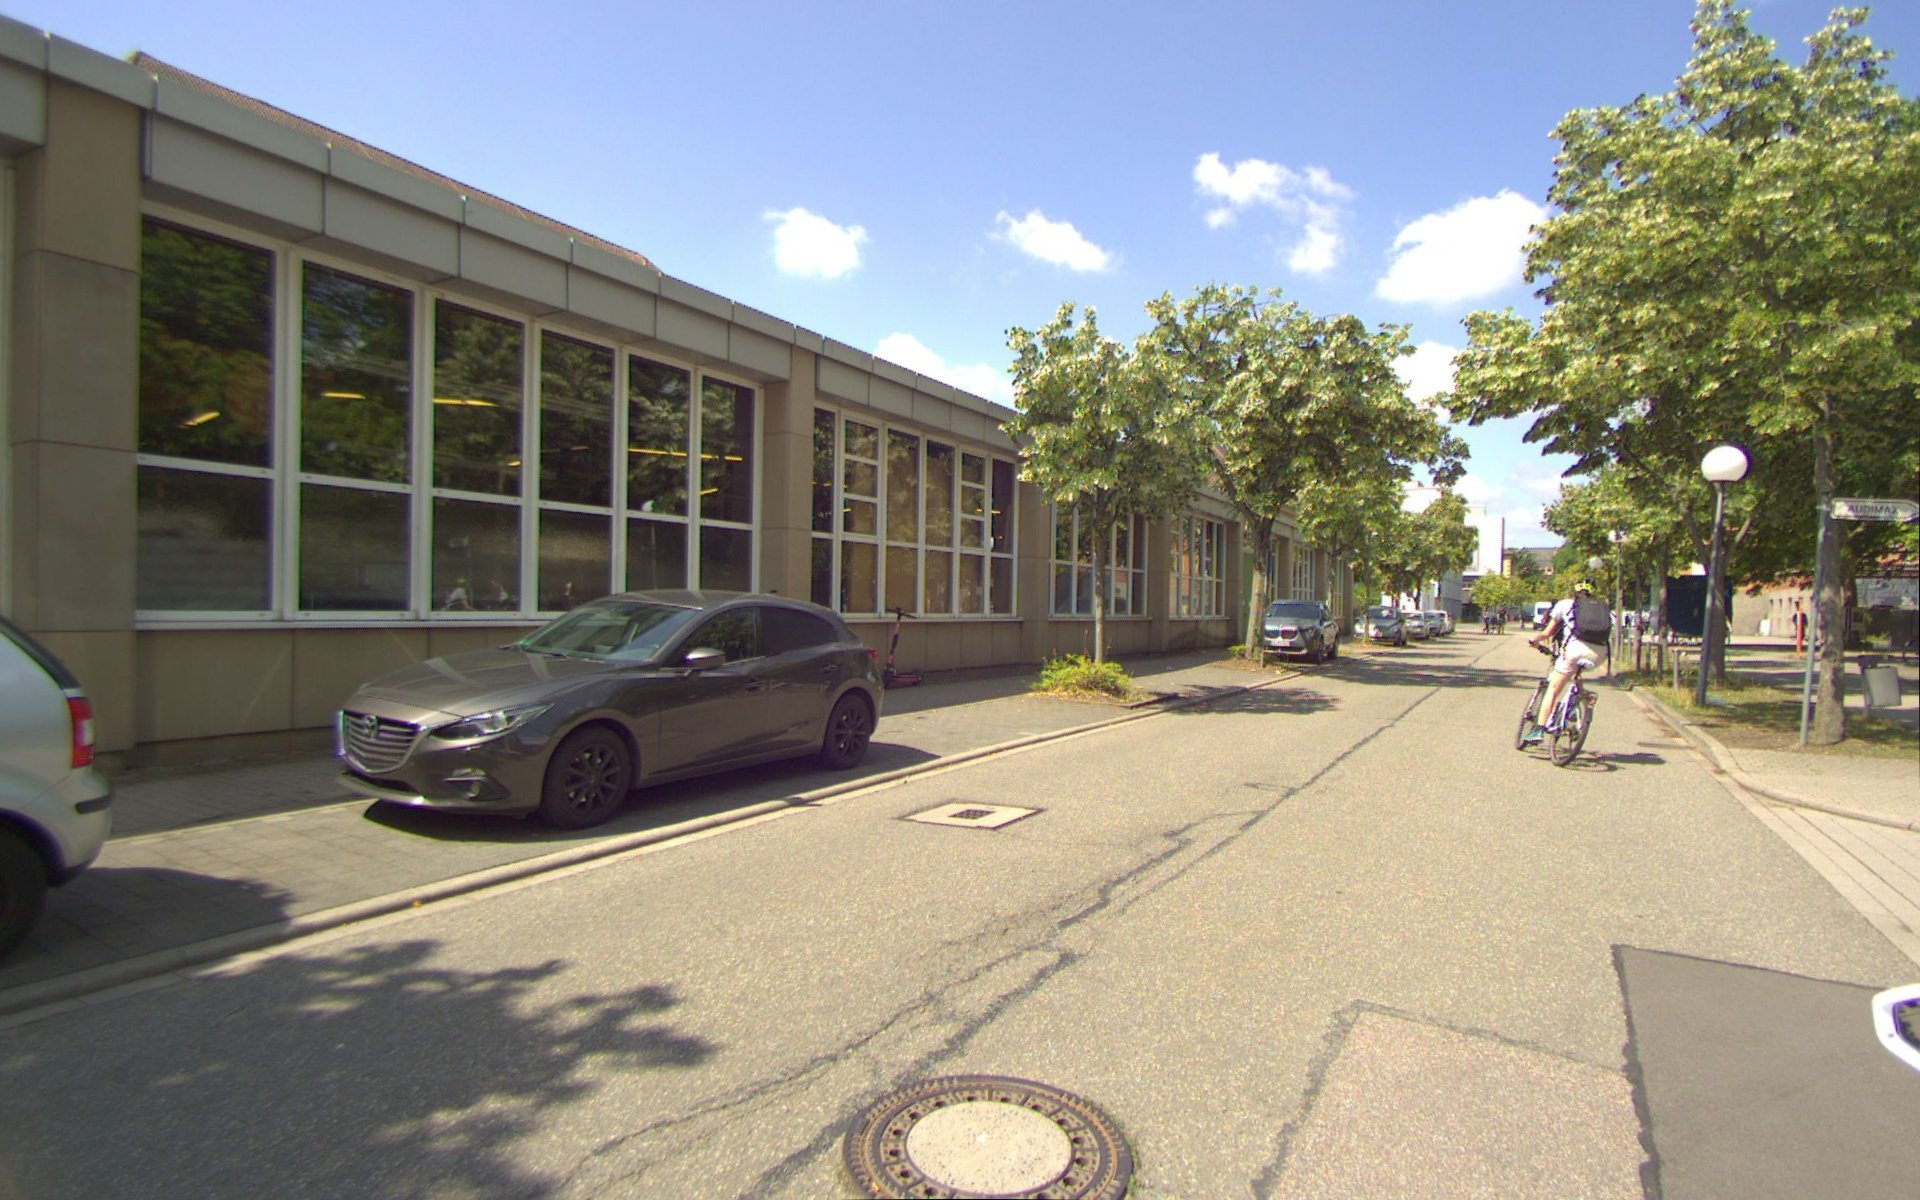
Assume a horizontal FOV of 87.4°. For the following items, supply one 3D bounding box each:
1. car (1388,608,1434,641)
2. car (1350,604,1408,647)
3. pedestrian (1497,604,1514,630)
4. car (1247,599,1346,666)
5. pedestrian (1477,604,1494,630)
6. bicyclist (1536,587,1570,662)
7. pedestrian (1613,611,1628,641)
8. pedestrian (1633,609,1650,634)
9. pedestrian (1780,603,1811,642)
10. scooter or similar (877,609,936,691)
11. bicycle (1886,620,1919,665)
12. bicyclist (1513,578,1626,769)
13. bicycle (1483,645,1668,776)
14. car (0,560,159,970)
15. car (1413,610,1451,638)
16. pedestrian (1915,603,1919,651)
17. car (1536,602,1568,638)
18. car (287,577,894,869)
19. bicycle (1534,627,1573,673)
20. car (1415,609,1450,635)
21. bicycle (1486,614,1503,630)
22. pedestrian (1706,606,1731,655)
[{"bbox_3d":[22.994,1.221,51.163,1.805,1.562,4.532,1,0,28],"label":"car"},{"bbox_3d":[17.383,1.014,41.561,1.805,1.655,4.532,1,0,28],"label":"car"},{"bbox_3d":[38.079,1.163,70.145,0.754,1.798,0.907,1,1,8],"label":"pedestrian"},{"bbox_3d":[9.442,0.848,27.964,1.805,1.639,4.532,3,1,28],"label":"car"},{"bbox_3d":[36.727,1.188,70.186,0.754,1.798,0.907,1,1,8],"label":"pedestrian"},{"bbox_3d":[15.379,0.628,26.059,0.657,1.900,0.826,0,-1,25],"label":"bicyclist"},{"bbox_3d":[34.695,1.359,52.768,0.611,1.540,0.734,1,1,33],"label":"pedestrian"},{"bbox_3d":[51.836,1.623,76.406,0.754,1.798,0.907,1,1,18],"label":"pedestrian"},{"bbox_3d":[39.837,1.063,47.917,0.754,1.798,0.907,1,1,13],"label":"pedestrian"},{"bbox_3d":[-0.834,0.770,15.831,0.285,1.242,1.155,1,0,33],"label":"scooter or similar"},{"bbox_3d":[25.263,1.113,25.935,1.989,1.123,0.503,1,1,12],"label":"bicycle"},{"bbox_3d":[6.084,0.712,10.069,0.593,1.825,0.899,0,-1,0],"label":"bicyclist"},{"bbox_3d":[6.082,1.043,10.083,0.593,1.123,2.072,0,-1,0],"label":"bicycle"},{"bbox_3d":[-4.939,0.569,2.892,1.624,1.496,3.772,3,1,30],"label":"car"},{"bbox_3d":[27.659,1.370,58.795,1.805,1.562,4.532,1,0,28],"label":"car"},{"bbox_3d":[36.739,1.023,37.757,0.901,1.798,0.786,1,1,13],"label":"pedestrian"},{"bbox_3d":[53.671,1.846,91.176,2.228,3.054,5.730,3,0,29],"label":"car"},{"bbox_3d":[-2.355,0.641,7.541,1.624,1.496,4.203,3,1,30],"label":"car"},{"bbox_3d":[15.370,1.263,26.062,0.657,1.123,2.071,0,-1,25],"label":"bicycle"},{"bbox_3d":[30.208,1.365,64.176,1.805,1.562,4.532,1,0,28],"label":"car"},{"bbox_3d":[37.439,1.540,70.327,0.464,1.098,1.700,1,1,8],"label":"bicycle"},{"bbox_3d":[24.377,0.960,32.287,0.562,1.540,0.836,2,1,40],"label":"pedestrian"}]
